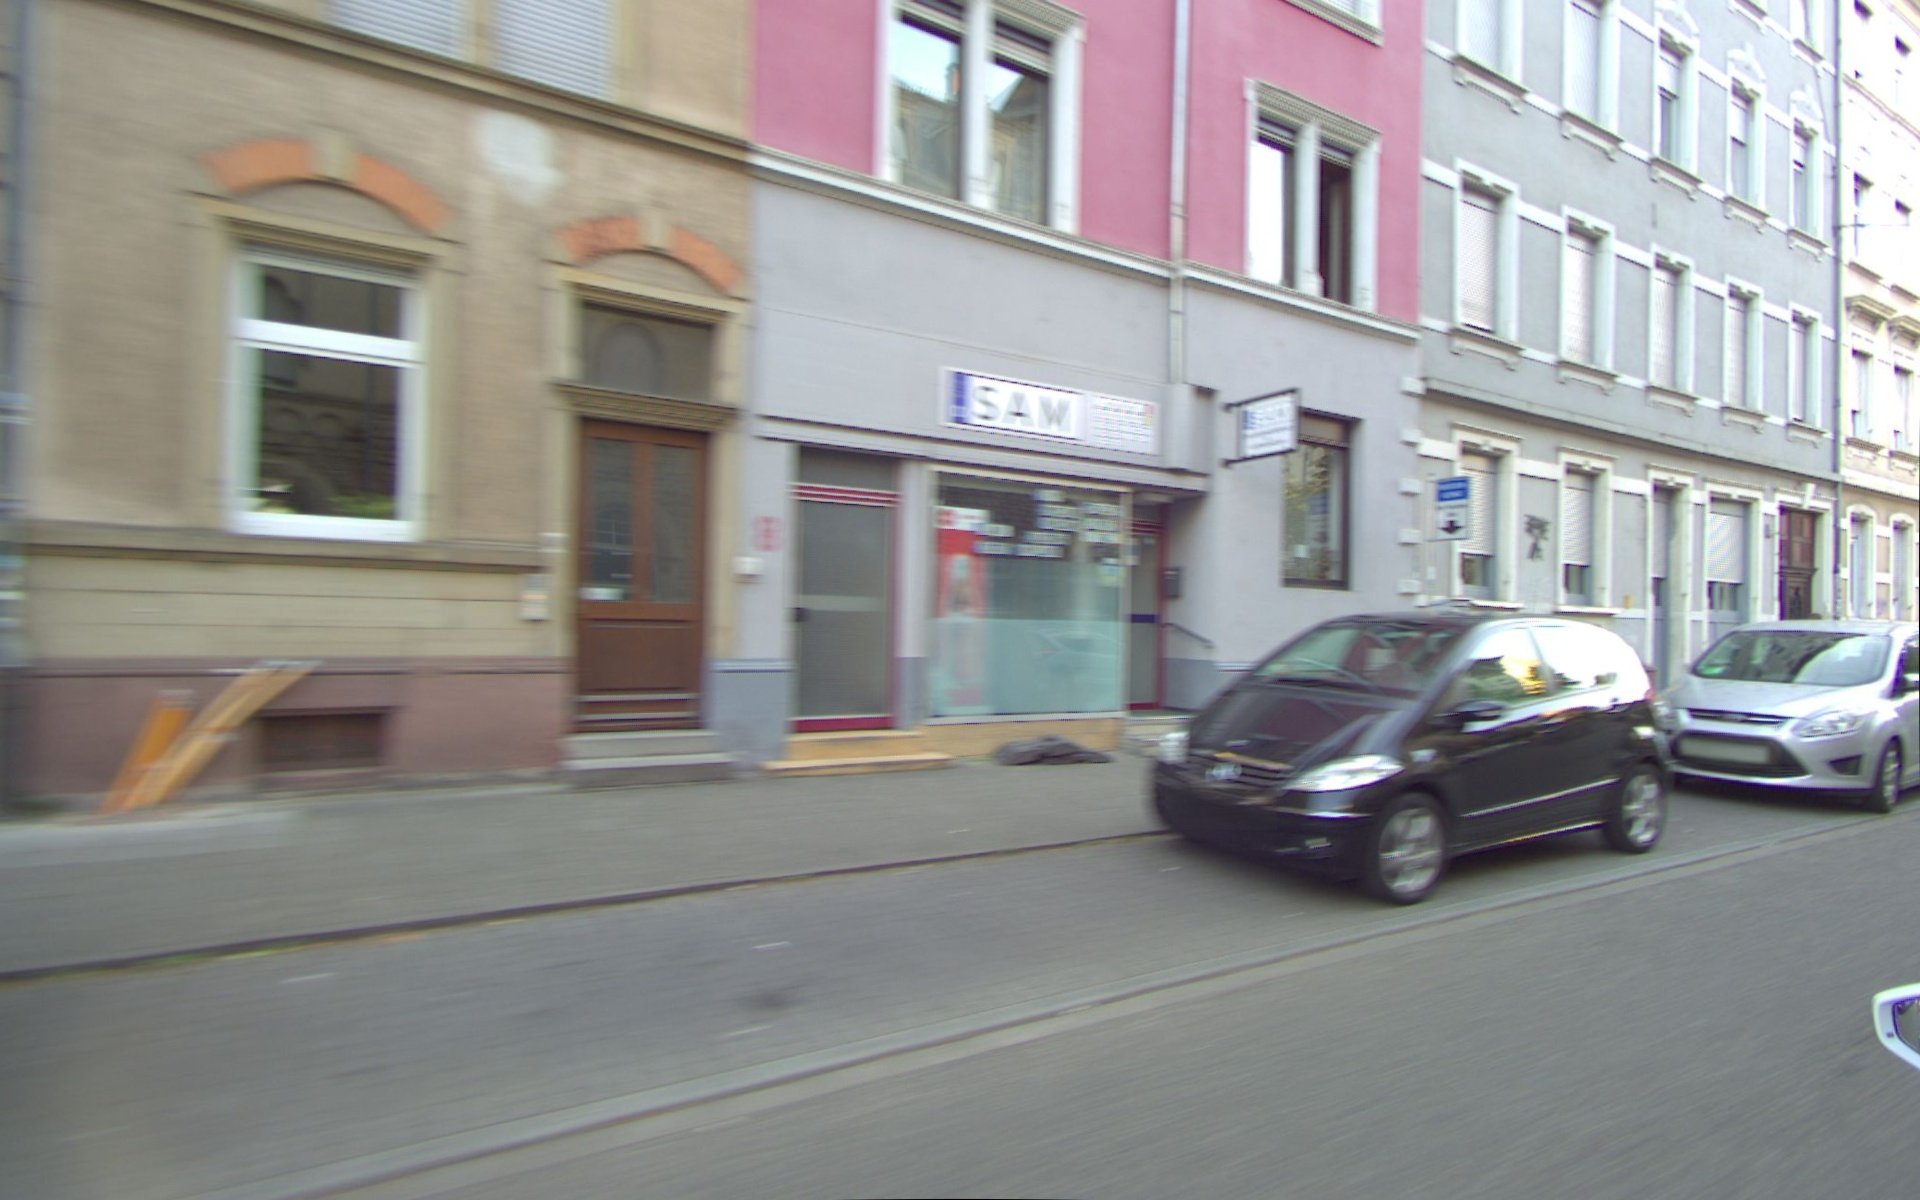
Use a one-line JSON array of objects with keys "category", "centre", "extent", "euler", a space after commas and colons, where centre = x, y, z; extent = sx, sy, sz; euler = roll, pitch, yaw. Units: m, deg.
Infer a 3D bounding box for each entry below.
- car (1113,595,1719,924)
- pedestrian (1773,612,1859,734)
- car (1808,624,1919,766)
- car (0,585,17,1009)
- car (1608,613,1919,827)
[{"category": "car", "centre": [3.169, 0.843, 6.795], "extent": [4.011, 1.614, 1.744], "euler": [2, 0, -31]}, {"category": "pedestrian", "centre": [14.372, 1.210, 16.869], "extent": [0.823, 1.974, 0.846], "euler": [1, -2, -27]}, {"category": "car", "centre": [12.706, 1.168, 12.763], "extent": [3.882, 1.597, 1.744], "euler": [2, 0, -31]}, {"category": "car", "centre": [-4.751, 0.706, 1.894], "extent": [4.009, 1.495, 1.744], "euler": [2, 4, -30]}, {"category": "car", "centre": [8.484, 1.004, 9.877], "extent": [4.623, 1.614, 1.822], "euler": [2, 0, -33]}]
